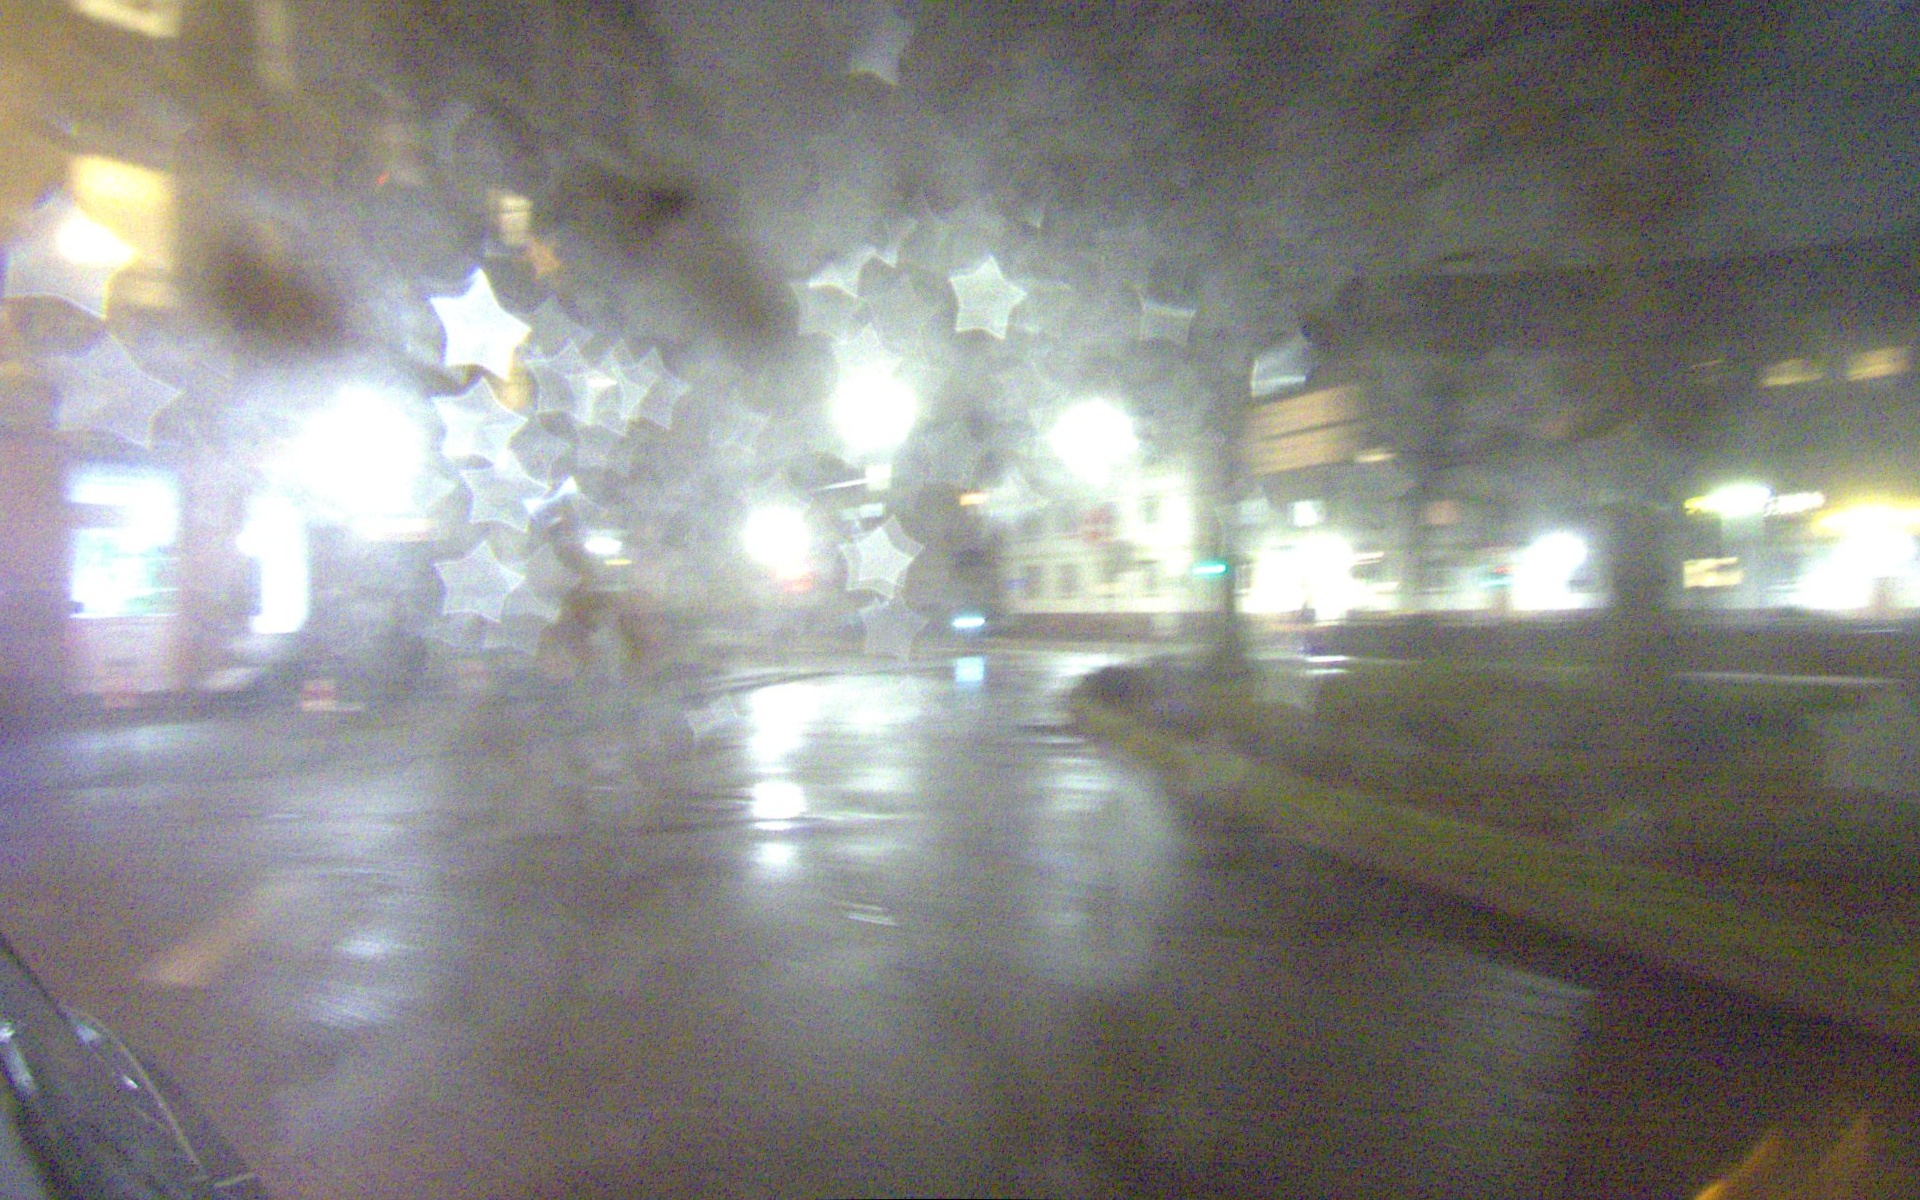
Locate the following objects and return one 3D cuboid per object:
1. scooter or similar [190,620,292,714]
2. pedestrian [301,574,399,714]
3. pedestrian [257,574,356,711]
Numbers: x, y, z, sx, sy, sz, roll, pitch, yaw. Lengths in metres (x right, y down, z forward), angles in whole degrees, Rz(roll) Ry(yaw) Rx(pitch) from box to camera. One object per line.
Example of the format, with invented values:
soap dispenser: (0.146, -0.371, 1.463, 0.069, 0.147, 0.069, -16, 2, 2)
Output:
scooter or similar: (-9.408, 0.853, 13.273, 0.568, 1.135, 0.927, 1, 2, 19)
pedestrian: (-8.365, 0.569, 13.916, 0.687, 1.834, 0.943, 1, 2, 13)
pedestrian: (-9.136, 0.559, 14.176, 0.688, 1.834, 0.941, 1, 2, 18)
